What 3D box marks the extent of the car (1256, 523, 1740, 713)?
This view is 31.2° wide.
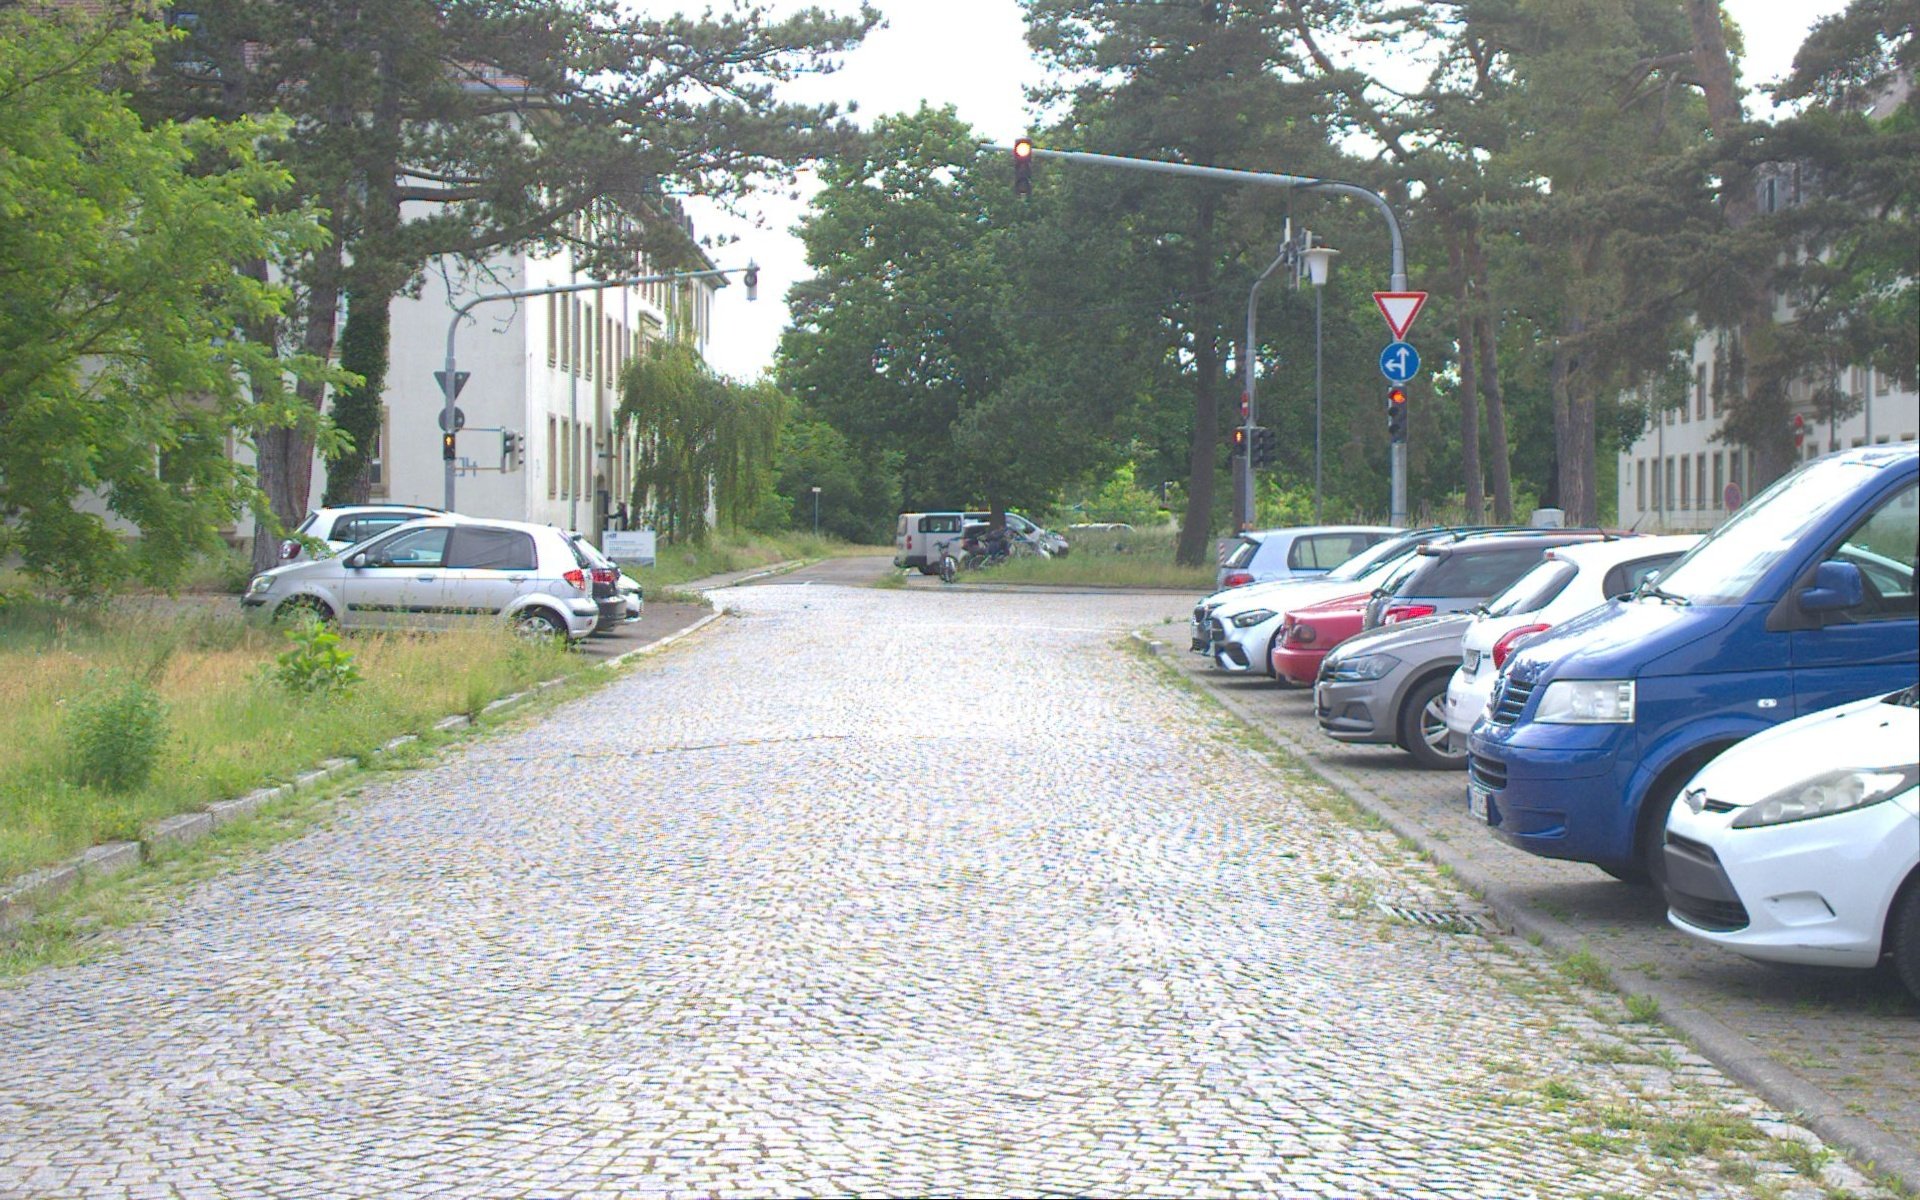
[{"bbox_3d":[4.347,0.125,28.083,3.671,1.444,1.524,-1,1,-2],"label":"car"}]

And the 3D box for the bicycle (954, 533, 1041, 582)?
[{"bbox_3d":[0.938,-1.080,87.066,2.136,1.210,0.622,1,1,-4],"label":"bicycle"}]

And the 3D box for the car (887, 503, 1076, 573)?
[{"bbox_3d":[0.645,-1.902,104.967,5.444,2.007,2.269,1,1,-9],"label":"car"}]

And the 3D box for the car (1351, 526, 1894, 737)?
[{"bbox_3d":[4.836,0.211,25.376,3.671,1.444,1.524,-1,1,-2],"label":"car"}]

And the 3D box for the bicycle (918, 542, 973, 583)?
[{"bbox_3d":[-0.354,-0.915,83.006,0.620,0.941,1.663,0,1,-28],"label":"bicycle"}]

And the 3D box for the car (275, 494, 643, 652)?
[{"bbox_3d":[-6.147,-0.341,42.511,4.262,1.834,1.744,-1,1,0],"label":"car"}]

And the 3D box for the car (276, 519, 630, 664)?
[{"bbox_3d":[-5.787,-0.110,39.525,3.821,1.567,1.564,-1,1,0],"label":"car"}]

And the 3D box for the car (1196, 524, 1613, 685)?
[{"bbox_3d":[4.176,0.025,32.621,3.671,1.416,1.524,-1,1,-4],"label":"car"}]

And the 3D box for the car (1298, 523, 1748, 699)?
[{"bbox_3d":[4.927,0.081,30.365,3.671,1.444,1.524,-1,1,-2],"label":"car"}]

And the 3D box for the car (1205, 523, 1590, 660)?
[{"bbox_3d":[4.813,-0.110,38.123,3.967,1.416,1.620,-1,1,-4],"label":"car"}]

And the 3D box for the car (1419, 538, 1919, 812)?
[{"bbox_3d":[4.580,0.389,19.612,3.671,1.444,1.524,-1,1,-2],"label":"car"}]

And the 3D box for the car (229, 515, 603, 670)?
[{"bbox_3d":[-5.820,-0.094,37.108,3.821,1.567,1.564,-1,1,-3],"label":"car"}]

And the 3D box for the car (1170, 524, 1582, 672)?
[{"bbox_3d":[4.252,-0.035,35.476,3.967,1.416,1.620,-1,1,-4],"label":"car"}]

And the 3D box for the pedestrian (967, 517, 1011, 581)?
[{"bbox_3d":[0.739,-1.296,87.406,1.033,1.608,0.757,1,1,-4],"label":"pedestrian"}]

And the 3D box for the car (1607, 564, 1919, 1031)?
[{"bbox_3d":[4.227,0.593,11.744,3.671,1.444,1.615,-1,1,-2],"label":"car"}]

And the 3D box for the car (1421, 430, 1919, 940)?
[{"bbox_3d":[4.463,0.283,14.330,4.754,1.948,1.931,-1,1,-2],"label":"car"}]

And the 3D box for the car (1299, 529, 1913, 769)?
[{"bbox_3d":[4.146,0.291,22.392,3.671,1.444,1.524,-1,1,-2],"label":"car"}]
